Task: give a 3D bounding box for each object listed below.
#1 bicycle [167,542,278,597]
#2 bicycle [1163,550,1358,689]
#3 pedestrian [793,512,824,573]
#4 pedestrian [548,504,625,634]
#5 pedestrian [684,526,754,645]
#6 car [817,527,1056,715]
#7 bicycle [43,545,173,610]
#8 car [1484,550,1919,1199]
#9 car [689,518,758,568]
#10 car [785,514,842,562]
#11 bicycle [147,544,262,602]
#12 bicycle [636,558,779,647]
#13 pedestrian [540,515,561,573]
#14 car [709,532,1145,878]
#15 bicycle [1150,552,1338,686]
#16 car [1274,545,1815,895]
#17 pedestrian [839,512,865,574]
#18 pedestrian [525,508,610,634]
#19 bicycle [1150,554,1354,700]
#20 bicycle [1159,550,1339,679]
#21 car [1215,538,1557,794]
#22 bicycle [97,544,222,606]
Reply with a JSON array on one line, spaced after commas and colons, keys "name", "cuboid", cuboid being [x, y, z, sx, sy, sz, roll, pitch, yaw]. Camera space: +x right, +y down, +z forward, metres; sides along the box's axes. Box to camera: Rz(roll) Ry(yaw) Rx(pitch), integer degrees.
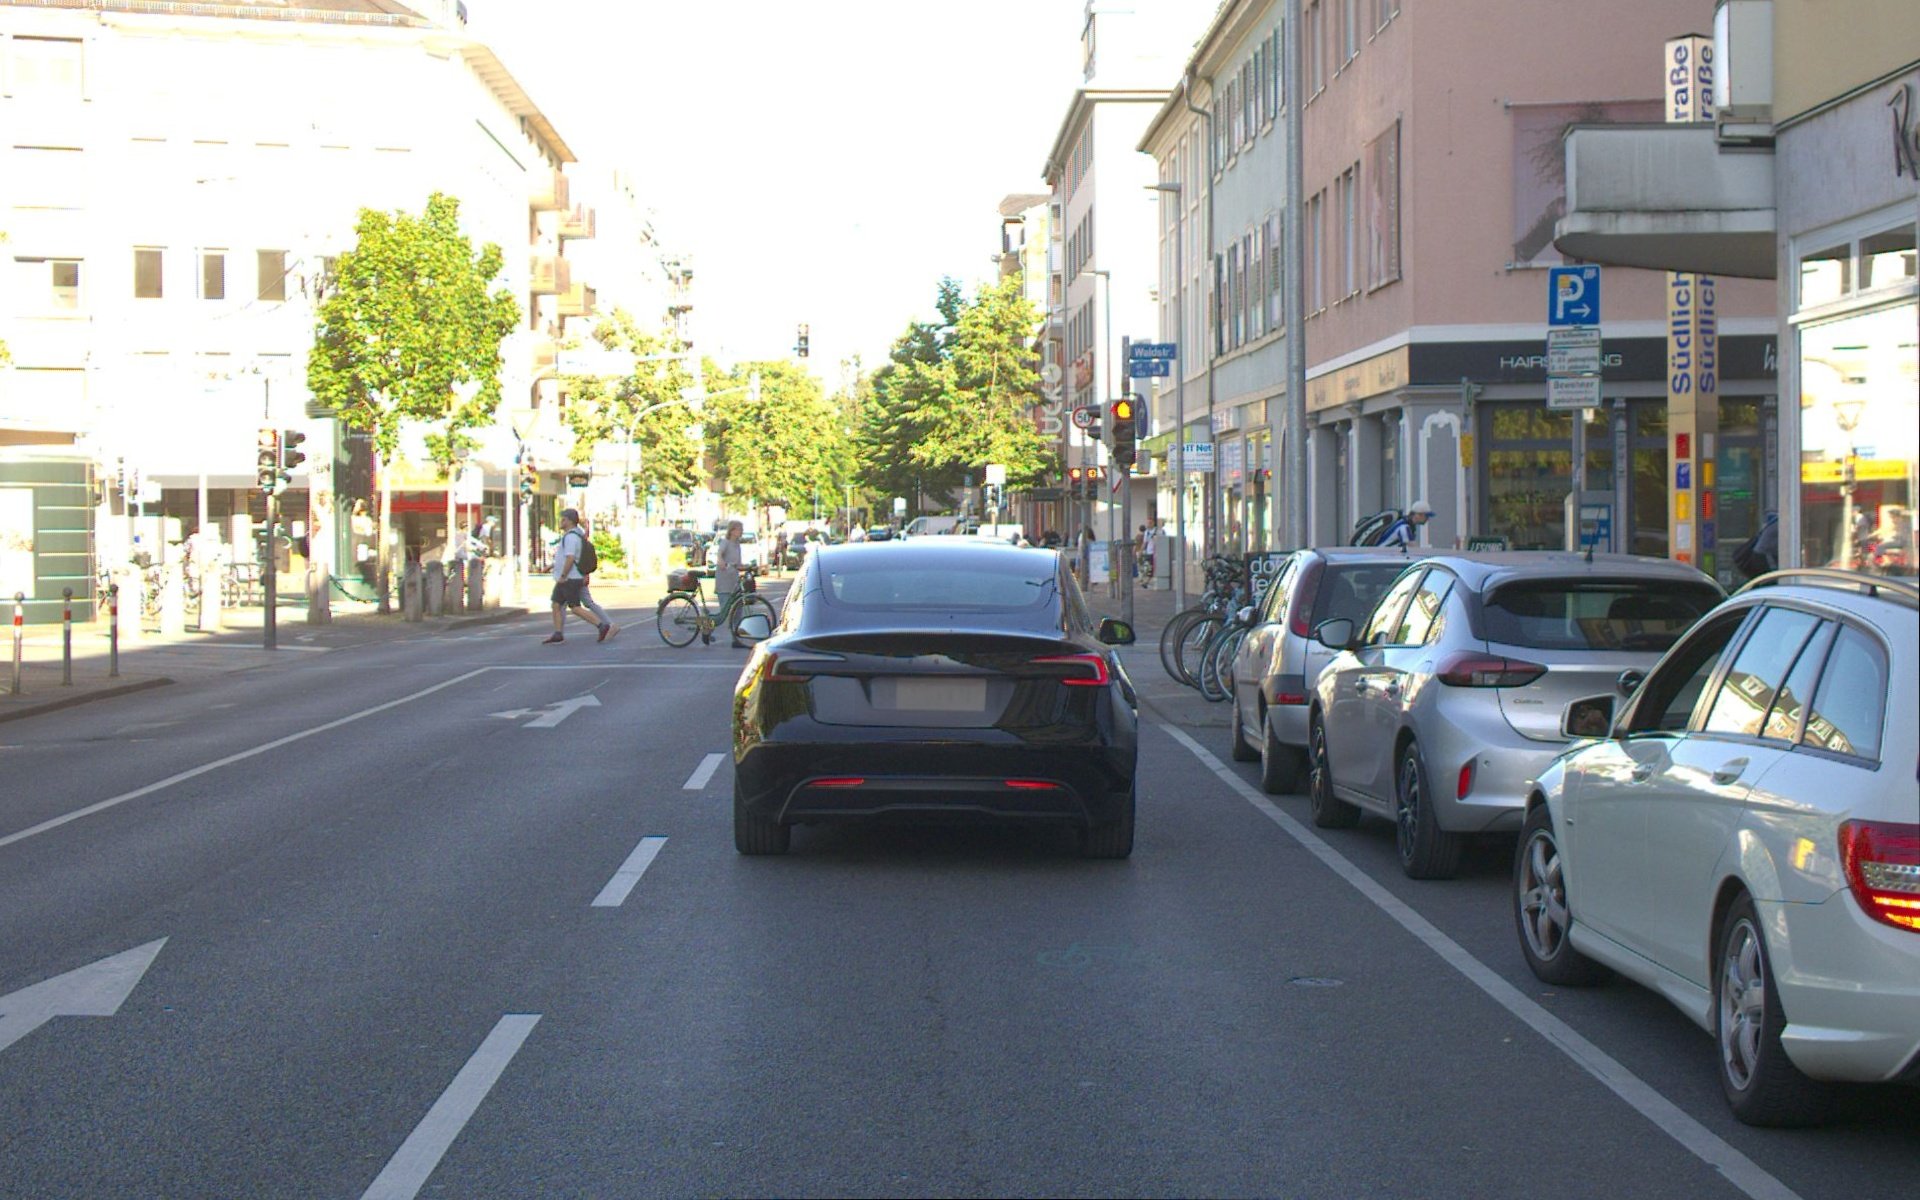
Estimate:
[{"name": "bicycle", "cuboid": [-14.948, -0.622, 69.683, 2.082, 1.100, 0.806, 1, 1, 0]}, {"name": "bicycle", "cuboid": [2.613, 0.169, 29.981, 1.627, 1.156, 0.433, -2, 1, -1]}, {"name": "pedestrian", "cuboid": [-4.993, -1.895, 113.355, 0.750, 2.007, 0.798, 0, 1, -26]}, {"name": "pedestrian", "cuboid": [-5.020, -0.421, 46.187, 0.901, 1.719, 0.744, 1, 1, 3]}, {"name": "pedestrian", "cuboid": [-2.952, -0.178, 42.146, 0.743, 1.435, 0.582, 1, 1, 7]}, {"name": "car", "cuboid": [-0.167, 0.124, 28.765, 1.850, 1.450, 3.786, 1, 1, 1]}, {"name": "bicycle", "cuboid": [-14.914, -0.395, 60.196, 2.082, 1.100, 0.806, 1, 1, 0]}, {"name": "car", "cuboid": [2.794, 0.602, 10.014, 1.738, 1.442, 4.465, 0, 1, -1]}, {"name": "car", "cuboid": [-7.920, -1.929, 115.398, 1.993, 1.535, 4.000, -3, 1, 0]}, {"name": "car", "cuboid": [-5.406, -2.294, 126.576, 2.050, 1.721, 4.654, 0, 1, -3]}, {"name": "bicycle", "cuboid": [-14.822, -0.537, 67.490, 2.082, 1.100, 0.806, 1, 1, 0]}, {"name": "bicycle", "cuboid": [-3.060, 0.027, 41.663, 1.616, 1.041, 0.591, 1, 1, 9]}, {"name": "pedestrian", "cuboid": [-14.261, -1.947, 119.640, 0.626, 2.007, 0.707, 0, 1, 0]}, {"name": "car", "cuboid": [-0.125, 0.411, 16.546, 1.850, 1.450, 3.786, 1, 1, 1]}, {"name": "bicycle", "cuboid": [2.556, 0.167, 31.041, 1.627, 1.156, 0.433, -2, 1, -1]}, {"name": "car", "cuboid": [2.618, 0.470, 16.339, 1.670, 1.422, 4.078, 0, 1, -3]}, {"name": "pedestrian", "cuboid": [-3.509, -1.853, 111.856, 0.627, 2.007, 0.558, 1, 1, 24]}, {"name": "pedestrian", "cuboid": [-5.163, -0.389, 45.211, 0.986, 1.631, 0.737, 1, 1, 3]}, {"name": "bicycle", "cuboid": [2.421, 0.219, 28.578, 1.627, 1.156, 0.433, -2, 1, -1]}, {"name": "bicycle", "cuboid": [2.706, 0.130, 32.243, 1.628, 1.156, 0.433, -1, 1, 1]}, {"name": "car", "cuboid": [2.500, 0.329, 20.975, 1.622, 1.389, 3.886, 1, 1, 1]}, {"name": "bicycle", "cuboid": [-14.591, -0.456, 62.714, 2.082, 1.100, 0.806, 1, 1, 0]}]
